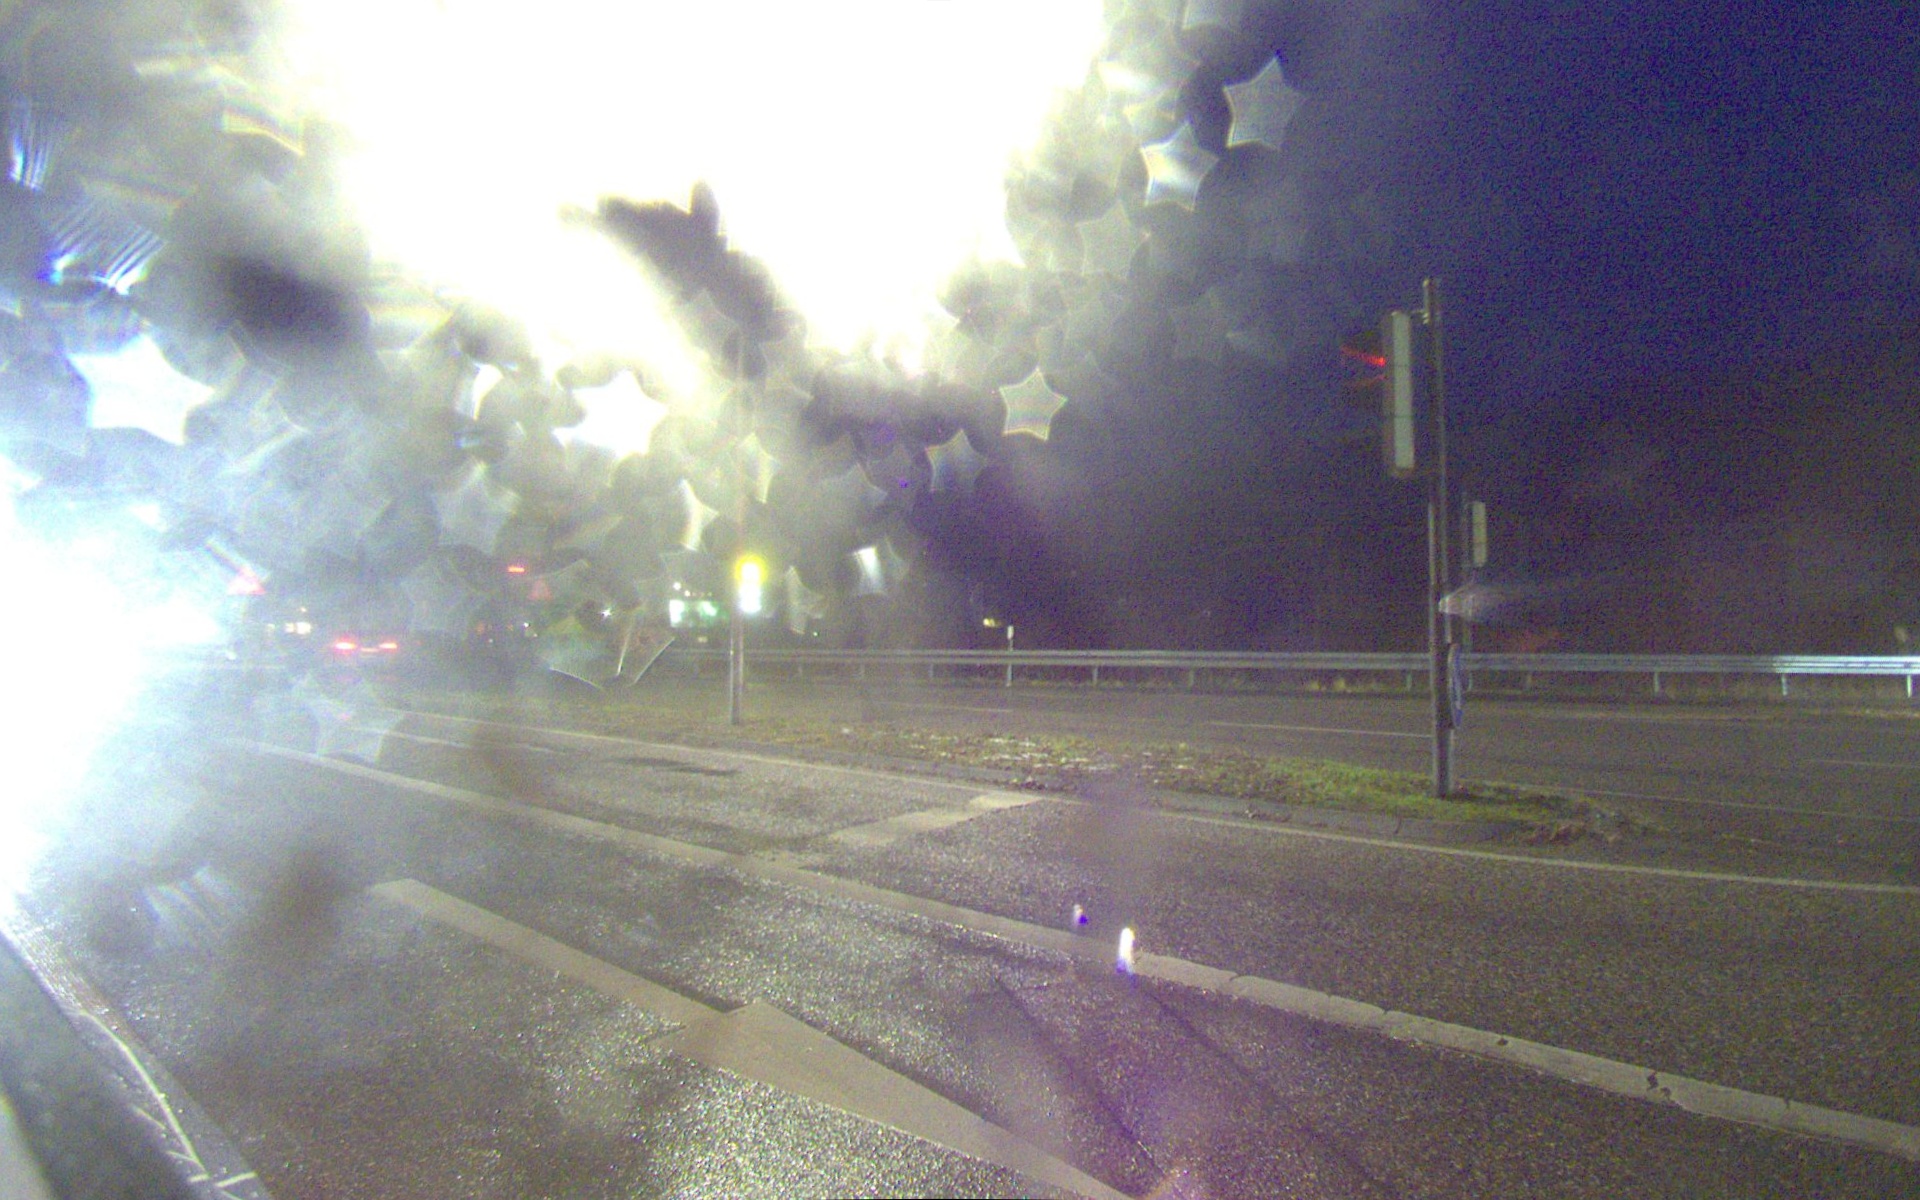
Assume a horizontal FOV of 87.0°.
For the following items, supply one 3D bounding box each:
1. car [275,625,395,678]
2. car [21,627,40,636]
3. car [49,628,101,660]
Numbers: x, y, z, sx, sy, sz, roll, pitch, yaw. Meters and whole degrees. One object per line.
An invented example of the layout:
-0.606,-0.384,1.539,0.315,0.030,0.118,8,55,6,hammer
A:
-20.453,1.635,33.045,4.885,1.515,1.730,0,0,38,car
-154.077,5.180,167.726,1.779,1.435,4.216,0,0,-35,car
-50.834,2.466,58.091,4.506,1.665,1.689,0,0,42,car
